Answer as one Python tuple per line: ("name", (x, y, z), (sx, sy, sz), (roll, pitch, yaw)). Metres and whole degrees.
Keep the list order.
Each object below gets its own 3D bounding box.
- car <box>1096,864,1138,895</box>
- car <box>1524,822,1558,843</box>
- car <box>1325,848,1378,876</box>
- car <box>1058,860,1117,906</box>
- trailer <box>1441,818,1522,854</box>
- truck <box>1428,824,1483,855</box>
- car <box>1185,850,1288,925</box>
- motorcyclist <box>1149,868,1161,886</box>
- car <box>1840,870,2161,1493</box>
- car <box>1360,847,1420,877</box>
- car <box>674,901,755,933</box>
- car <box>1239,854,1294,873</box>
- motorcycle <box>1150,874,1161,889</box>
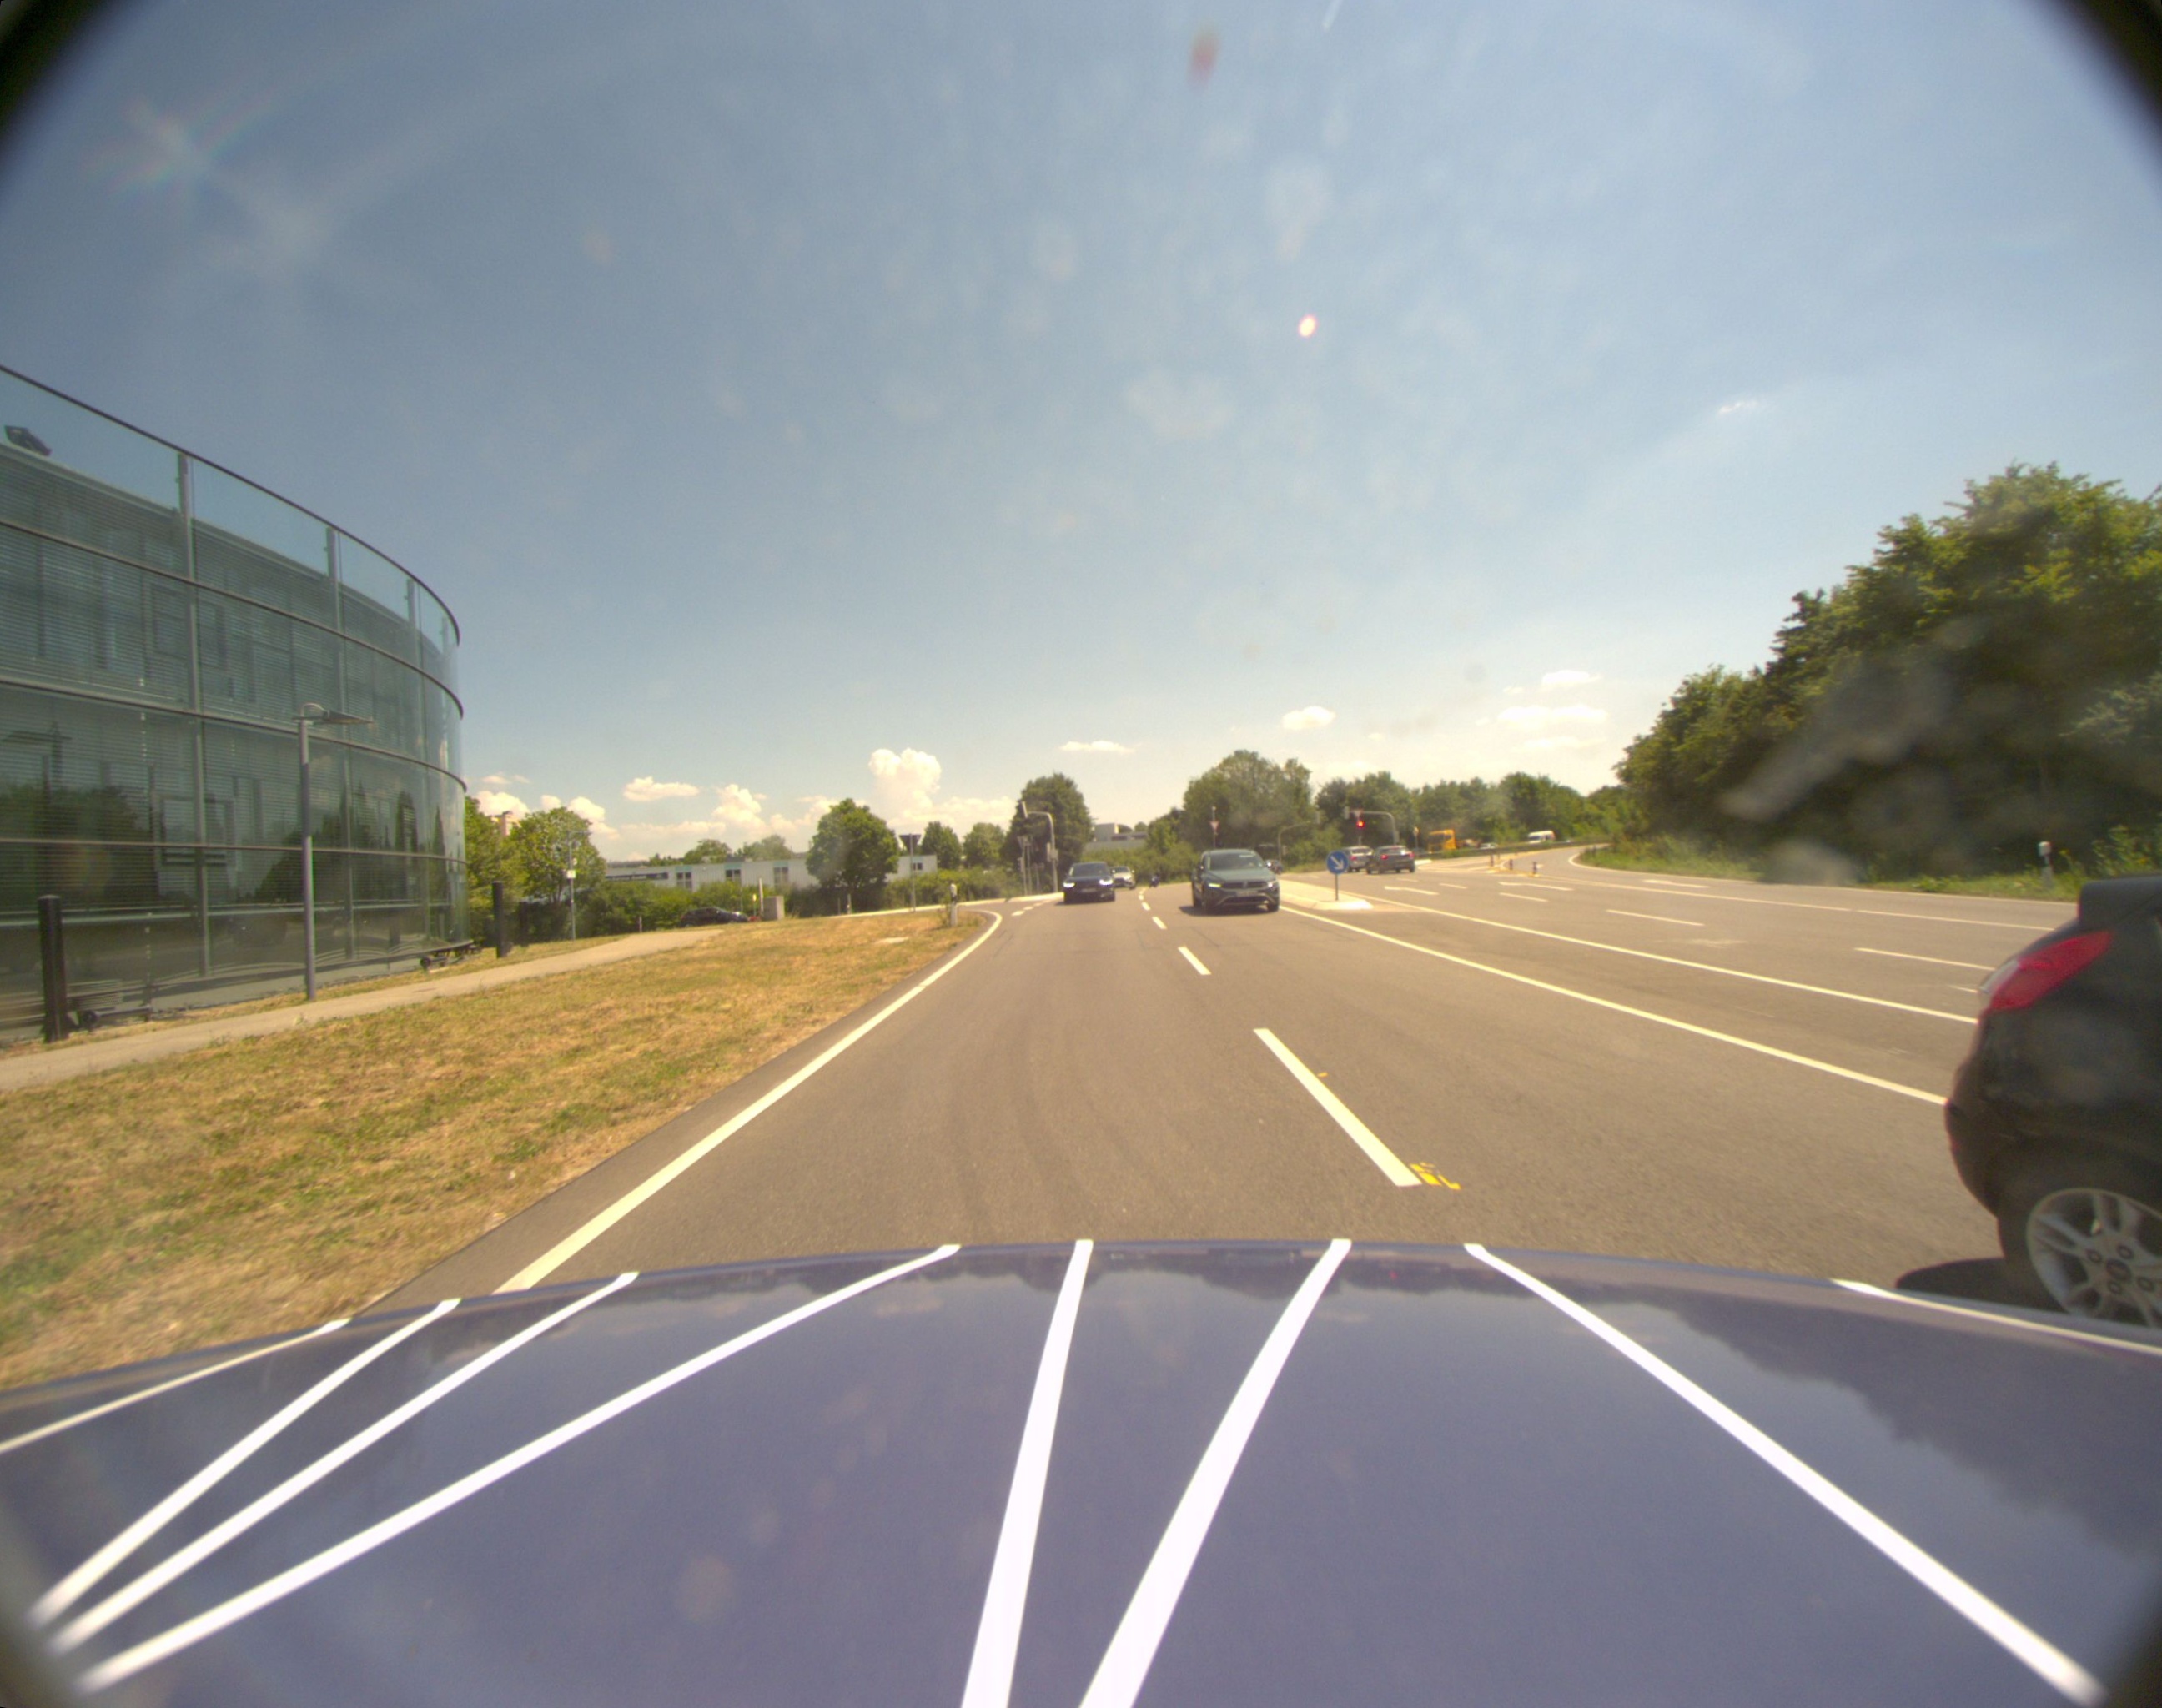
("car", (2.175, 1.451, 44.368), (1.933, 1.577, 4.182), (-5, -1, 8))
("car", (65.862, -3.133, 108.790), (5.489, 2.591, 2.165), (-4, -2, -37))
("car", (17.215, 0.541, 48.536), (1.612, 1.589, 4.354), (-5, -1, -2))
("car", (0.328, 1.002, 27.847), (1.779, 1.497, 4.563), (-2, -1, 5))
("trailer", (53.229, -2.435, 100.831), (13.192, 4.038, 3.067), (-3, -1, -32))
("truck", (48.057, -1.877, 97.489), (6.867, 3.516, 2.980), (-3, -1, -33))
("car", (3.871, 0.787, 19.653), (1.839, 1.577, 4.392), (-4, -1, 3))
("motorcyclist", (6.014, 1.862, 61.588), (0.860, 1.479, 1.162), (-1, 0, 0))
("car", (3.423, 0.780, 0.497), (1.657, 1.485, 4.208), (-3, -1, 2))
("car", (16.588, 0.436, 41.032), (1.997, 1.430, 4.225), (-4, -1, 8))
("car", (-23.477, 4.017, 48.869), (4.356, 1.589, 1.936), (-4, -1, -18))
("car", (17.325, 0.889, 70.963), (4.451, 1.582, 2.117), (-2, 0, -10))
("motorcycle", (6.039, 2.195, 61.577), (0.734, 1.131, 2.073), (-1, -1, 0))
